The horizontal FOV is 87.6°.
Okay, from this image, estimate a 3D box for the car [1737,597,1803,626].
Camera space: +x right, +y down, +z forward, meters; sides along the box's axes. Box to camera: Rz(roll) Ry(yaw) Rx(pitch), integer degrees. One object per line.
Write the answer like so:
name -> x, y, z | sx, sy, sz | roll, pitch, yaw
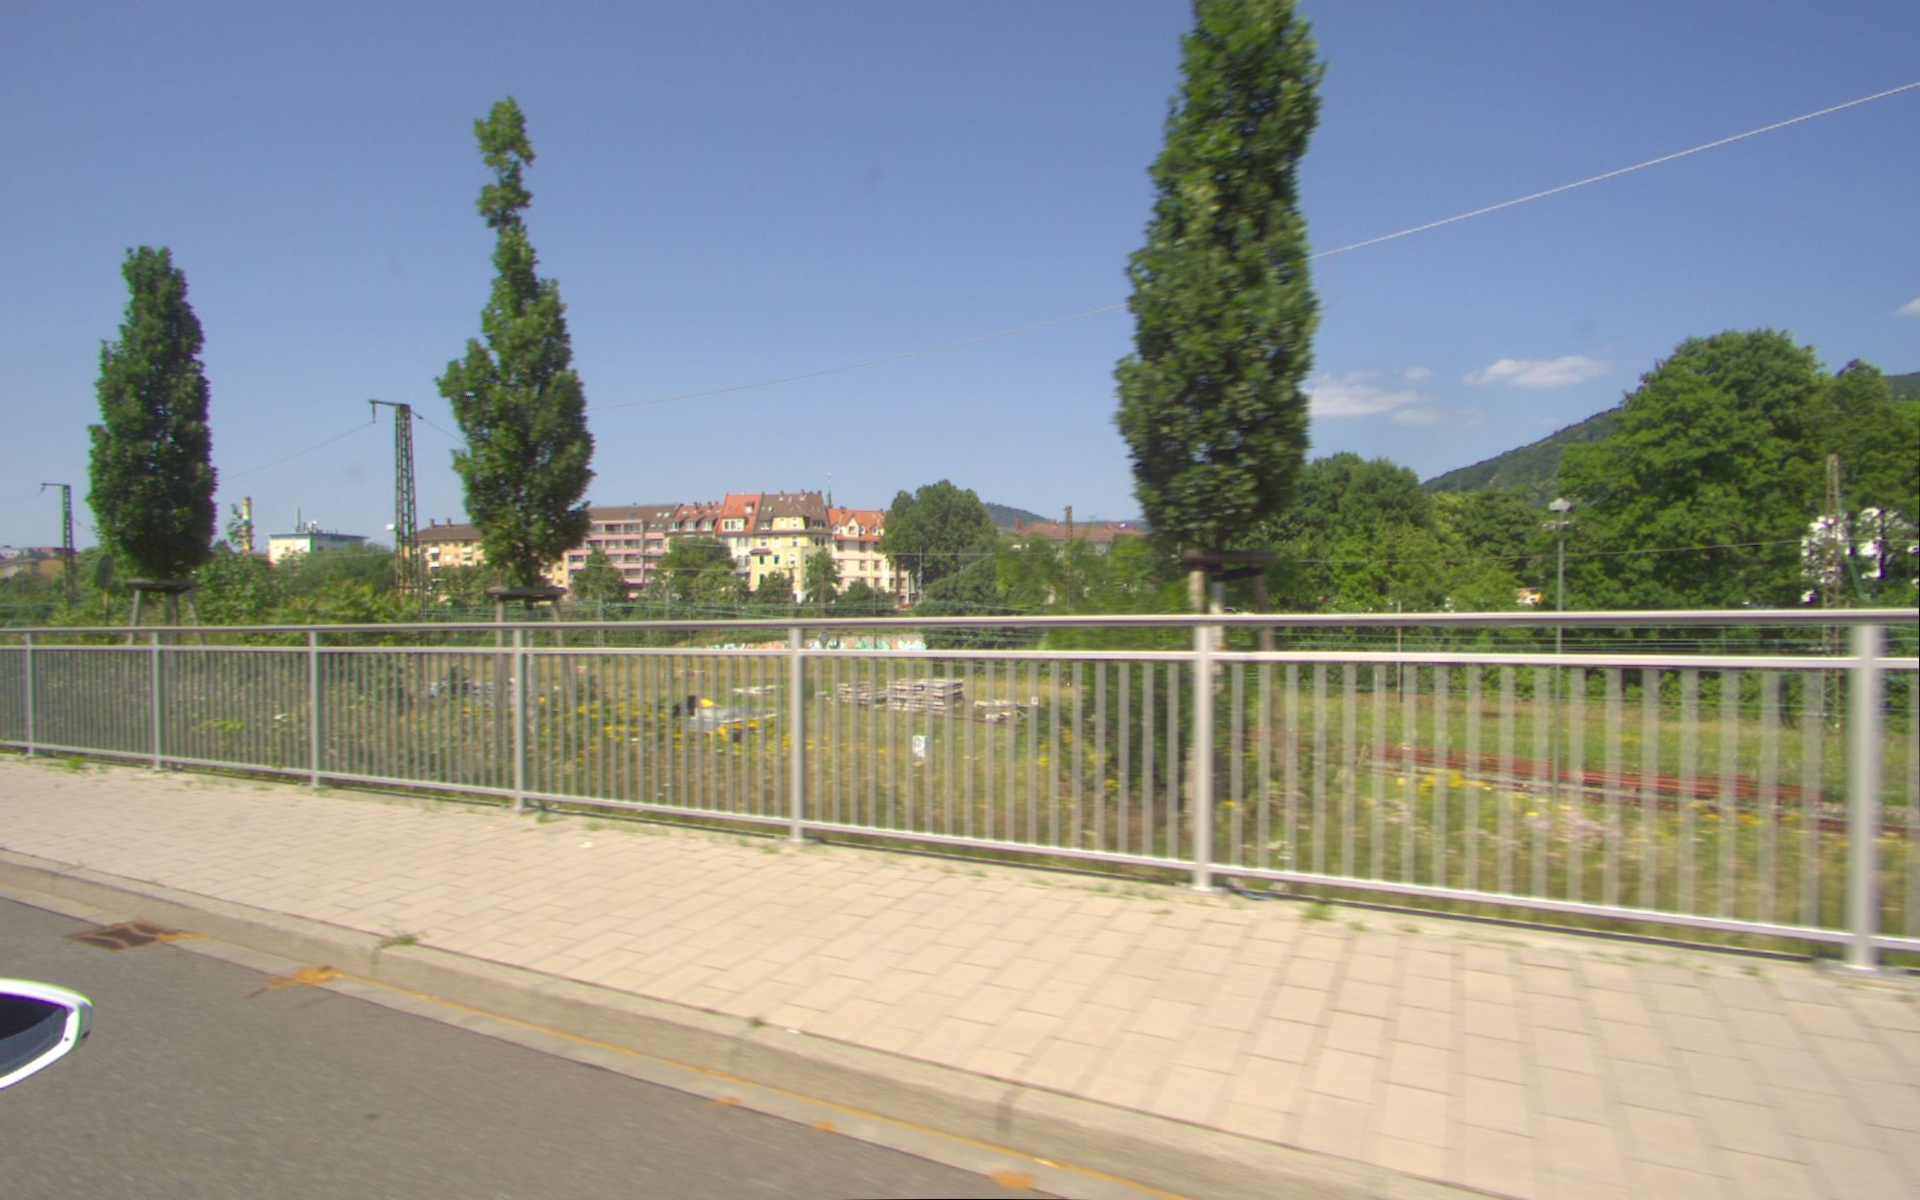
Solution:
car -> 65.210, 0.959, 80.639 | 1.740, 2.037, 3.897 | 5, -6, -44
